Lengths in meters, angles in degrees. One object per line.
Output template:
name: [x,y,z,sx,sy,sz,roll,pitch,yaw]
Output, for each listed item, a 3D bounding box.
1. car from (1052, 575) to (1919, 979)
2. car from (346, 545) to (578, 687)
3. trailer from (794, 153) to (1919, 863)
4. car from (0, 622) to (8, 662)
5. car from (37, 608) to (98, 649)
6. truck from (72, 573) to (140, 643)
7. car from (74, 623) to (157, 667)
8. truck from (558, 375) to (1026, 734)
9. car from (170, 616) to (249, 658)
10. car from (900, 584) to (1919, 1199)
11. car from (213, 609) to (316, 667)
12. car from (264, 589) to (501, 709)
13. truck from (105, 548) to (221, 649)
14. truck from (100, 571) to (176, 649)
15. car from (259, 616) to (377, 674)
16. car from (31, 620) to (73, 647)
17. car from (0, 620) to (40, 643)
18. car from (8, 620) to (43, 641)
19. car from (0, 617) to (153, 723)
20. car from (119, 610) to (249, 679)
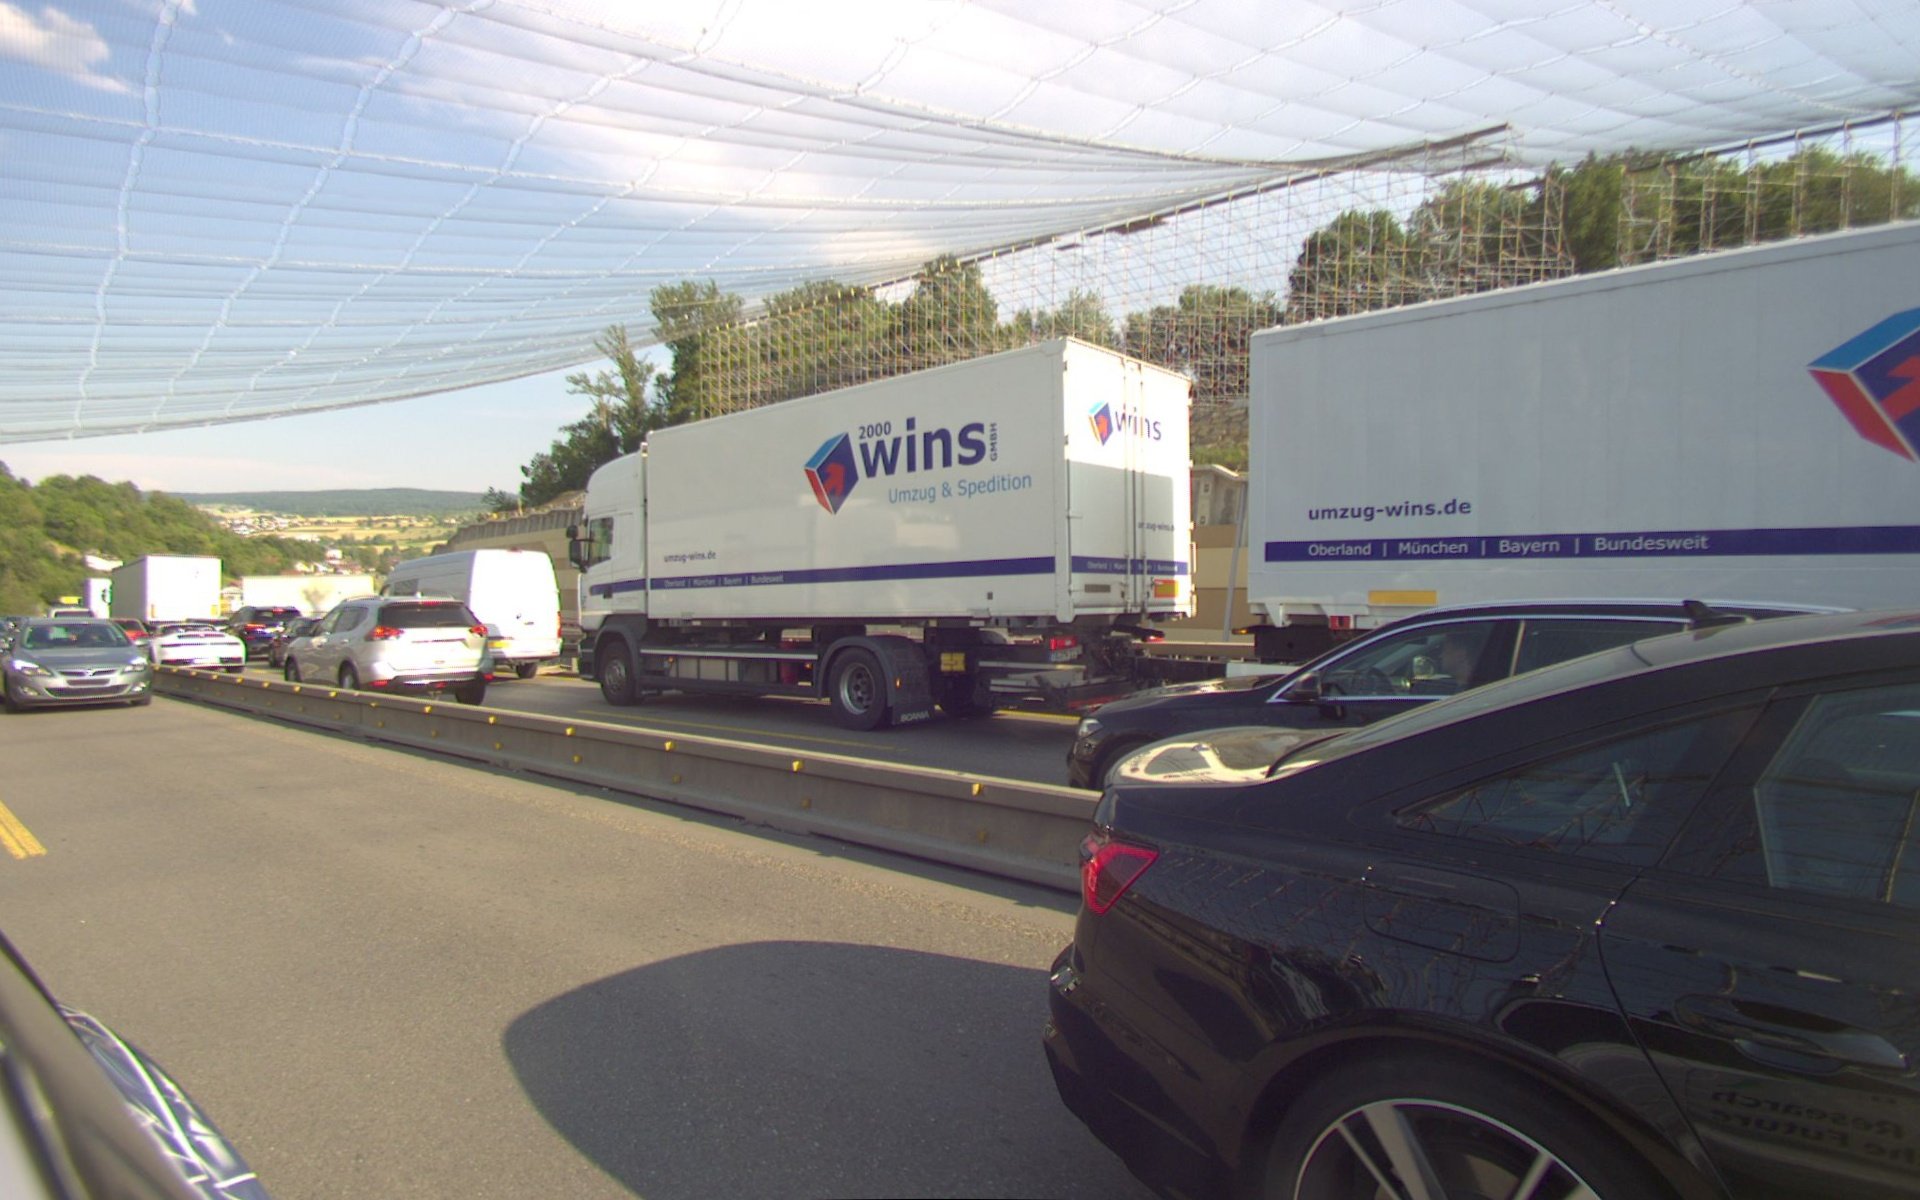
car: [2.903,0.655,5.298,4.659,1.461,1.759,-1,0,40]
car: [-11.351,0.352,22.694,7.081,2.733,2.217,-1,0,42]
trailer: [3.963,-0.491,8.770,13.323,4.046,2.643,-1,0,40]
car: [-36.252,1.549,37.198,1.740,1.394,3.825,0,0,-44]
car: [-43.572,1.357,49.365,5.282,1.883,1.788,-1,0,44]
truck: [-63.014,0.631,74.432,2.951,4.593,17.424,0,0,-43]
car: [-30.509,1.570,36.511,4.518,1.430,1.788,-1,0,43]
truck: [-2.723,-0.461,14.451,7.201,3.939,2.603,-1,0,41]
car: [-30.238,1.452,40.697,4.910,1.552,1.772,-1,0,44]
car: [2.374,0.660,1.329,4.957,1.409,1.915,-2,0,41]
car: [-22.913,1.194,33.258,4.938,1.740,1.804,-1,0,44]
car: [-8.891,0.667,15.436,4.363,1.580,1.790,-1,0,41]
truck: [-38.686,0.023,48.842,14.174,4.259,2.690,-1,0,45]
truck: [-43.760,0.543,53.807,6.051,3.937,2.487,-1,0,45]
car: [-17.749,1.189,27.900,4.382,1.448,1.772,-1,0,44]
car: [-54.305,1.983,60.531,4.219,1.563,1.564,-1,0,44]
car: [-65.829,2.189,70.819,4.647,1.546,1.913,-1,0,45]
car: [-72.251,2.351,78.251,1.911,1.530,4.983,-1,0,-43]
car: [-14.811,1.041,16.609,4.351,1.484,1.737,-1,0,42]
car: [-19.827,1.076,25.788,4.363,1.580,1.790,-1,0,41]
